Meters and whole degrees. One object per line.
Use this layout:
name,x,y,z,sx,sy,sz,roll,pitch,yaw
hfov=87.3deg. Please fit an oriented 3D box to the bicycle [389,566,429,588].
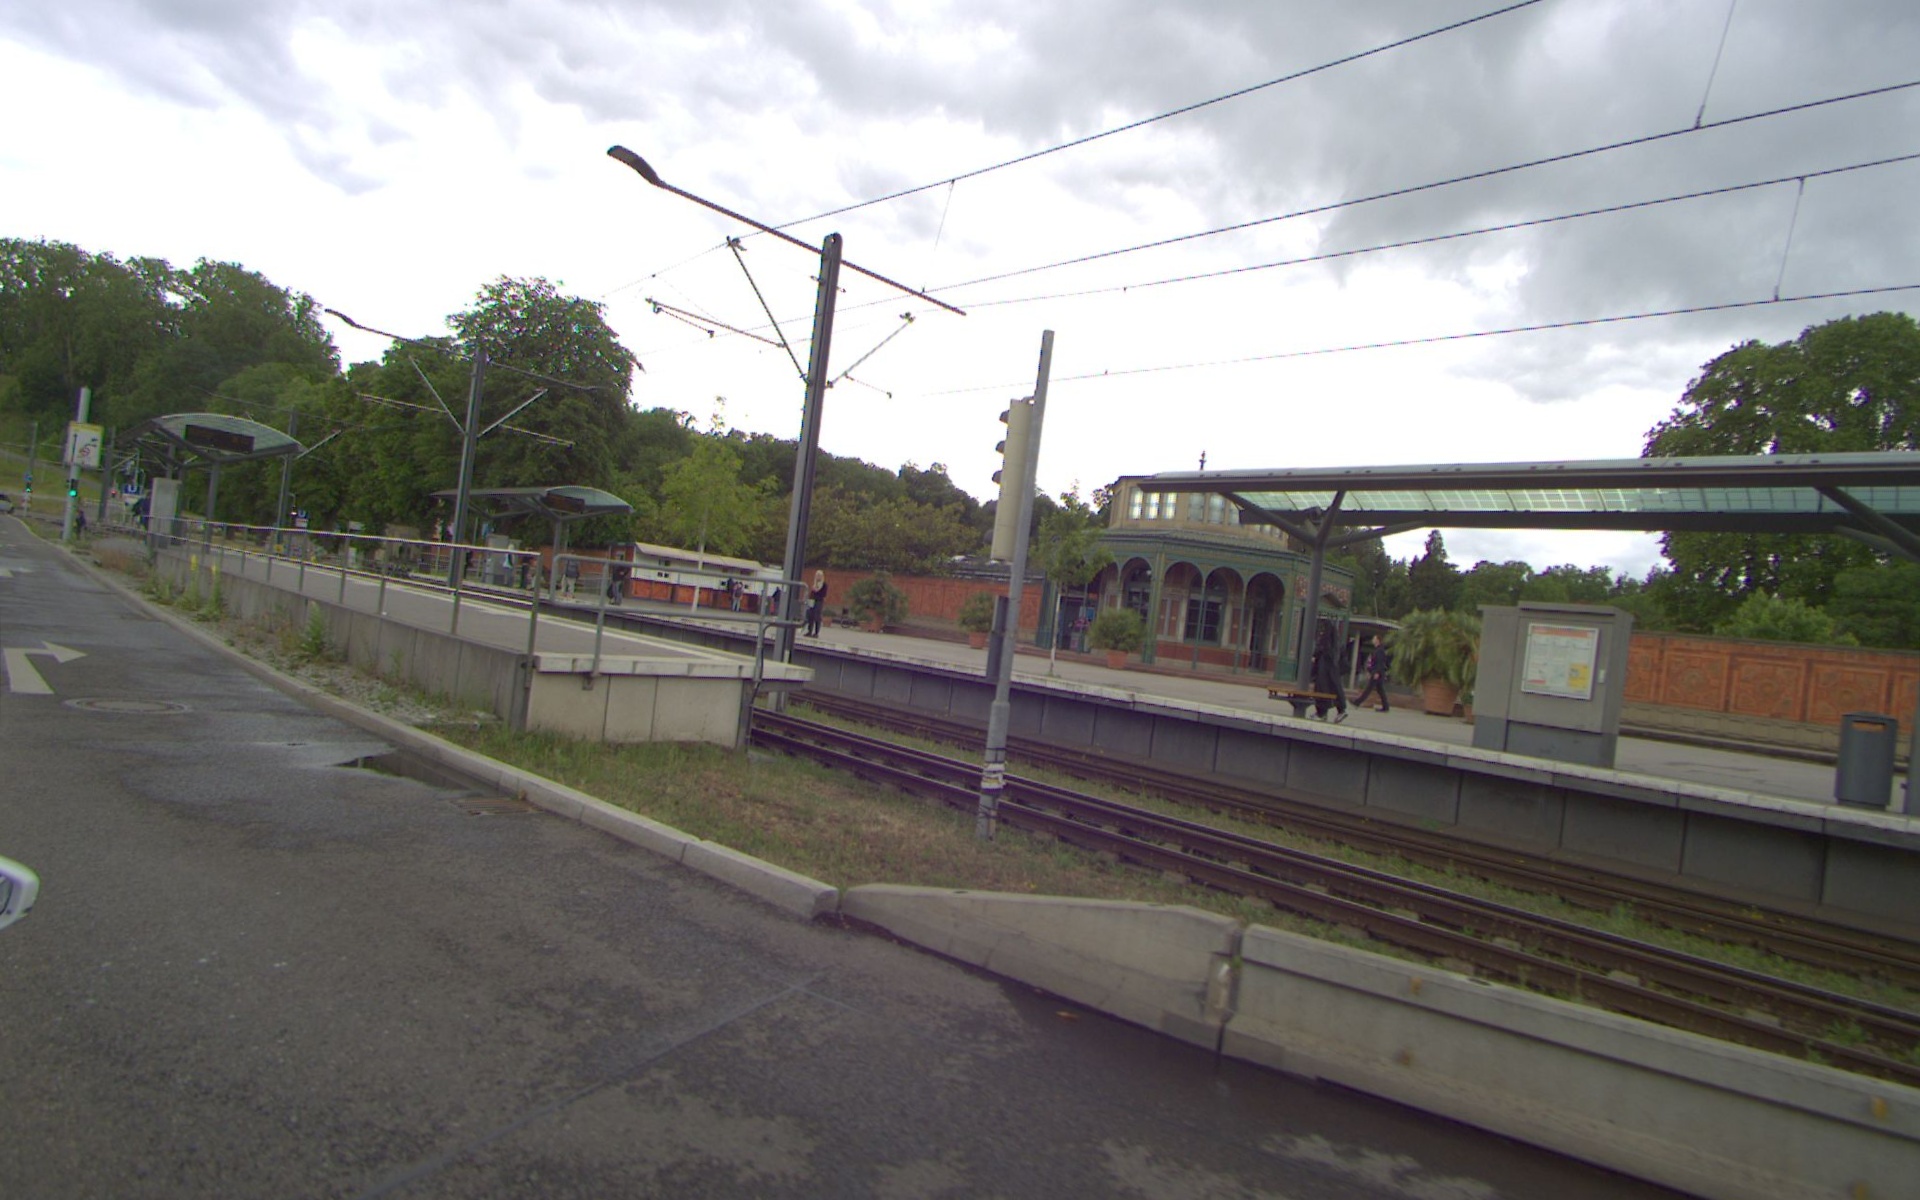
bicycle,-31.880,-1.316,58.207,1.870,0.973,0.526,11,-4,-44

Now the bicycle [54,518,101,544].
bicycle,-43.791,-3.419,49.941,0.609,1.087,1.685,8,-1,6

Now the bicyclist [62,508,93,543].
bicyclist,-43.762,-3.706,49.887,0.606,1.591,0.806,8,0,6

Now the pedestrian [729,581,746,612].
pedestrian,-11.655,-0.186,52.743,0.484,1.503,0.454,10,-3,-42

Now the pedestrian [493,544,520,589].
pedestrian,-18.002,-1.321,39.942,0.666,1.695,0.543,6,-3,42

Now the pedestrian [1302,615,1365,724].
pedestrian,6.105,1.123,16.439,0.483,1.678,0.622,9,-3,-36

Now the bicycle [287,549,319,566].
bicycle,-50.529,-3.261,77.357,1.907,0.987,0.524,7,-1,-44

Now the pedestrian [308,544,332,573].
pedestrian,-38.867,-2.530,61.074,0.764,1.629,0.834,6,0,23

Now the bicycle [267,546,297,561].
bicycle,-54.984,-3.763,81.591,1.907,0.987,0.524,7,-1,-44

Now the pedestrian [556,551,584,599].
pedestrian,-14.110,-0.910,36.366,0.523,1.638,0.667,10,-3,-43

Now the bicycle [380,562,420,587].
bicycle,-33.000,-1.506,59.256,1.870,1.151,0.526,11,-4,-44

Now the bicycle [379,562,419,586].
bicycle,-33.496,-1.536,60.092,1.870,1.151,0.526,11,-4,-44

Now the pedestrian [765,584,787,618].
pedestrian,-9.324,0.034,50.902,0.612,1.600,0.656,7,-3,32

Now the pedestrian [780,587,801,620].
pedestrian,-8.657,0.179,51.251,0.613,1.600,0.585,6,-3,33

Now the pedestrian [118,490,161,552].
pedestrian,-24.864,-2.396,30.498,0.769,1.719,0.722,10,-1,-43

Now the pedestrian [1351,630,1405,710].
pedestrian,10.490,1.754,25.225,0.938,1.858,0.548,6,-3,39

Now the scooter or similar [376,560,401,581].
scooter or similar,-35.587,-1.830,62.643,1.151,1.152,0.332,9,-2,-21

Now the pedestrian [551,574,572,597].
pedestrian,-14.816,-0.529,37.419,0.559,0.748,0.420,10,-3,-35

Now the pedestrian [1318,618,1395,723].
pedestrian,6.652,1.181,16.896,0.736,1.618,0.765,10,-3,-36

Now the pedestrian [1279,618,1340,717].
pedestrian,5.958,1.161,17.114,0.772,1.558,0.762,7,-3,23

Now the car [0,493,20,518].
car,-91.273,-9.100,94.734,2.180,2.036,5.124,8,-2,-24

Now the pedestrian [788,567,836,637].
pedestrian,-3.858,0.051,26.247,0.631,1.706,0.855,10,-3,-44

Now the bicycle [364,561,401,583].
bicycle,-35.316,-1.729,61.546,1.761,1.045,0.477,11,-4,-44

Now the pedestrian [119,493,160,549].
pedestrian,-25.359,-2.452,31.079,0.749,1.571,0.765,10,-1,-43

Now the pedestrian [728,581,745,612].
pedestrian,-11.826,-0.203,53.272,0.484,1.552,0.454,10,-3,-42

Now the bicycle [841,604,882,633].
bicycle,-4.569,0.860,46.565,1.683,1.073,0.565,7,-2,15

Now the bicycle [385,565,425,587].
bicycle,-32.390,-1.370,58.708,1.870,0.973,0.526,11,-4,-44

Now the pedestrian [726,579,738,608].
pedestrian,-12.231,-0.324,53.998,0.341,1.503,0.312,10,-3,-42

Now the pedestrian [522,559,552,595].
pedestrian,-15.713,-0.858,37.367,0.656,1.204,0.667,10,-3,-43

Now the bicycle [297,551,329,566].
bicycle,-49.106,-3.157,76.321,1.907,0.906,0.524,7,-1,-44

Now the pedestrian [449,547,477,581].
pedestrian,-21.870,-1.592,44.293,0.955,1.338,0.672,6,-3,45

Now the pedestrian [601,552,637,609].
pedestrian,-11.816,-0.673,34.835,0.631,1.858,0.939,10,-3,-43

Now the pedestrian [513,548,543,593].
pedestrian,-17.350,-1.181,40.395,0.668,1.695,0.673,6,-3,42

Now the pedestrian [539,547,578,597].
pedestrian,-14.898,-1.037,37.312,0.750,1.695,0.861,6,-3,36
